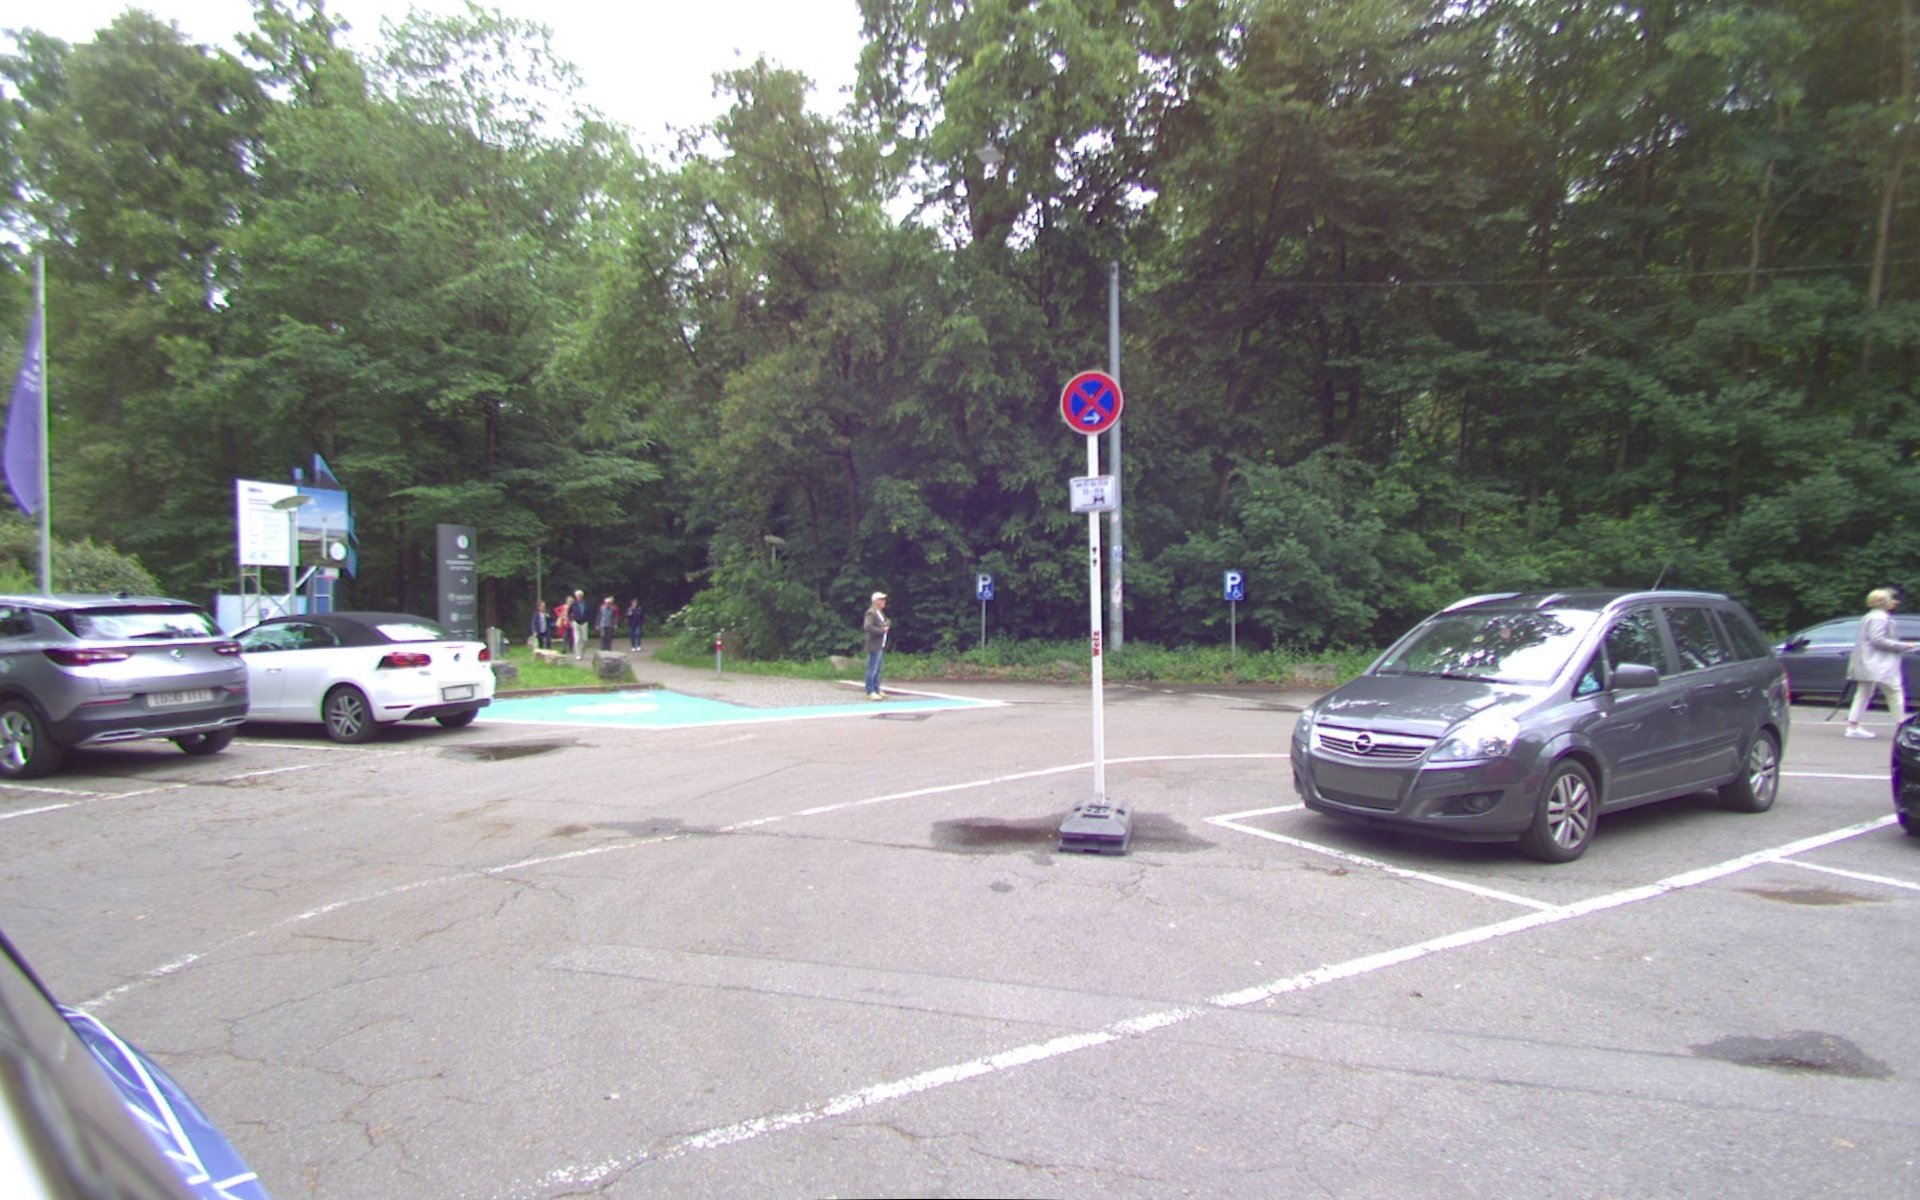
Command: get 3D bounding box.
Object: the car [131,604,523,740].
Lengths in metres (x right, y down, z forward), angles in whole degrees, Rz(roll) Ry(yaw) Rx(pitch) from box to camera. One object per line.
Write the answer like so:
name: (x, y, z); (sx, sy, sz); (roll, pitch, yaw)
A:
car: (-7.576, 0.775, 12.225); (3.965, 1.439, 1.889); (0, -1, 17)

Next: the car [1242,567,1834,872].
car: (4.256, 0.655, 7.287); (4.313, 1.621, 1.835); (0, -1, -31)

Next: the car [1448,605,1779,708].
car: (10.595, 0.838, 16.765); (1.866, 1.473, 4.218); (1, -1, -29)

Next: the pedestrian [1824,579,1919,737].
pedestrian: (10.629, 0.643, 11.568); (0.889, 1.738, 0.760); (0, -1, 17)

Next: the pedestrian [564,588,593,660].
pedestrian: (-10.468, 0.655, 27.807); (0.722, 1.930, 0.670); (0, -1, -19)

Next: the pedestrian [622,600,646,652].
pedestrian: (-10.769, 0.860, 33.466); (0.670, 1.686, 0.664); (0, -1, -25)

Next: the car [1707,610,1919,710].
car: (14.229, 0.870, 15.546); (1.877, 1.433, 4.012); (0, -1, -30)

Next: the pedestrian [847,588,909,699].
pedestrian: (-1.300, 0.679, 16.183); (0.885, 1.738, 0.763); (0, -1, 4)

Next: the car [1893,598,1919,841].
car: (7.941, 0.719, 6.521); (4.206, 1.454, 1.765); (0, -1, -32)

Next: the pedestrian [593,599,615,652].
pedestrian: (-11.326, 0.801, 32.199); (0.598, 1.686, 0.607); (0, -1, -25)

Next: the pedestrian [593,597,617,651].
pedestrian: (-11.774, 0.790, 33.582); (0.670, 1.781, 0.716); (0, -1, -25)

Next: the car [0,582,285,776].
car: (-8.926, 0.657, 9.821); (3.965, 1.597, 1.889); (0, -1, 17)

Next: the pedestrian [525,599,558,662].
pedestrian: (-11.070, 0.801, 26.794); (0.765, 1.646, 0.639); (0, -1, -19)

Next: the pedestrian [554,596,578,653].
pedestrian: (-12.486, 0.757, 32.034); (0.672, 1.775, 0.607); (0, -1, -25)
